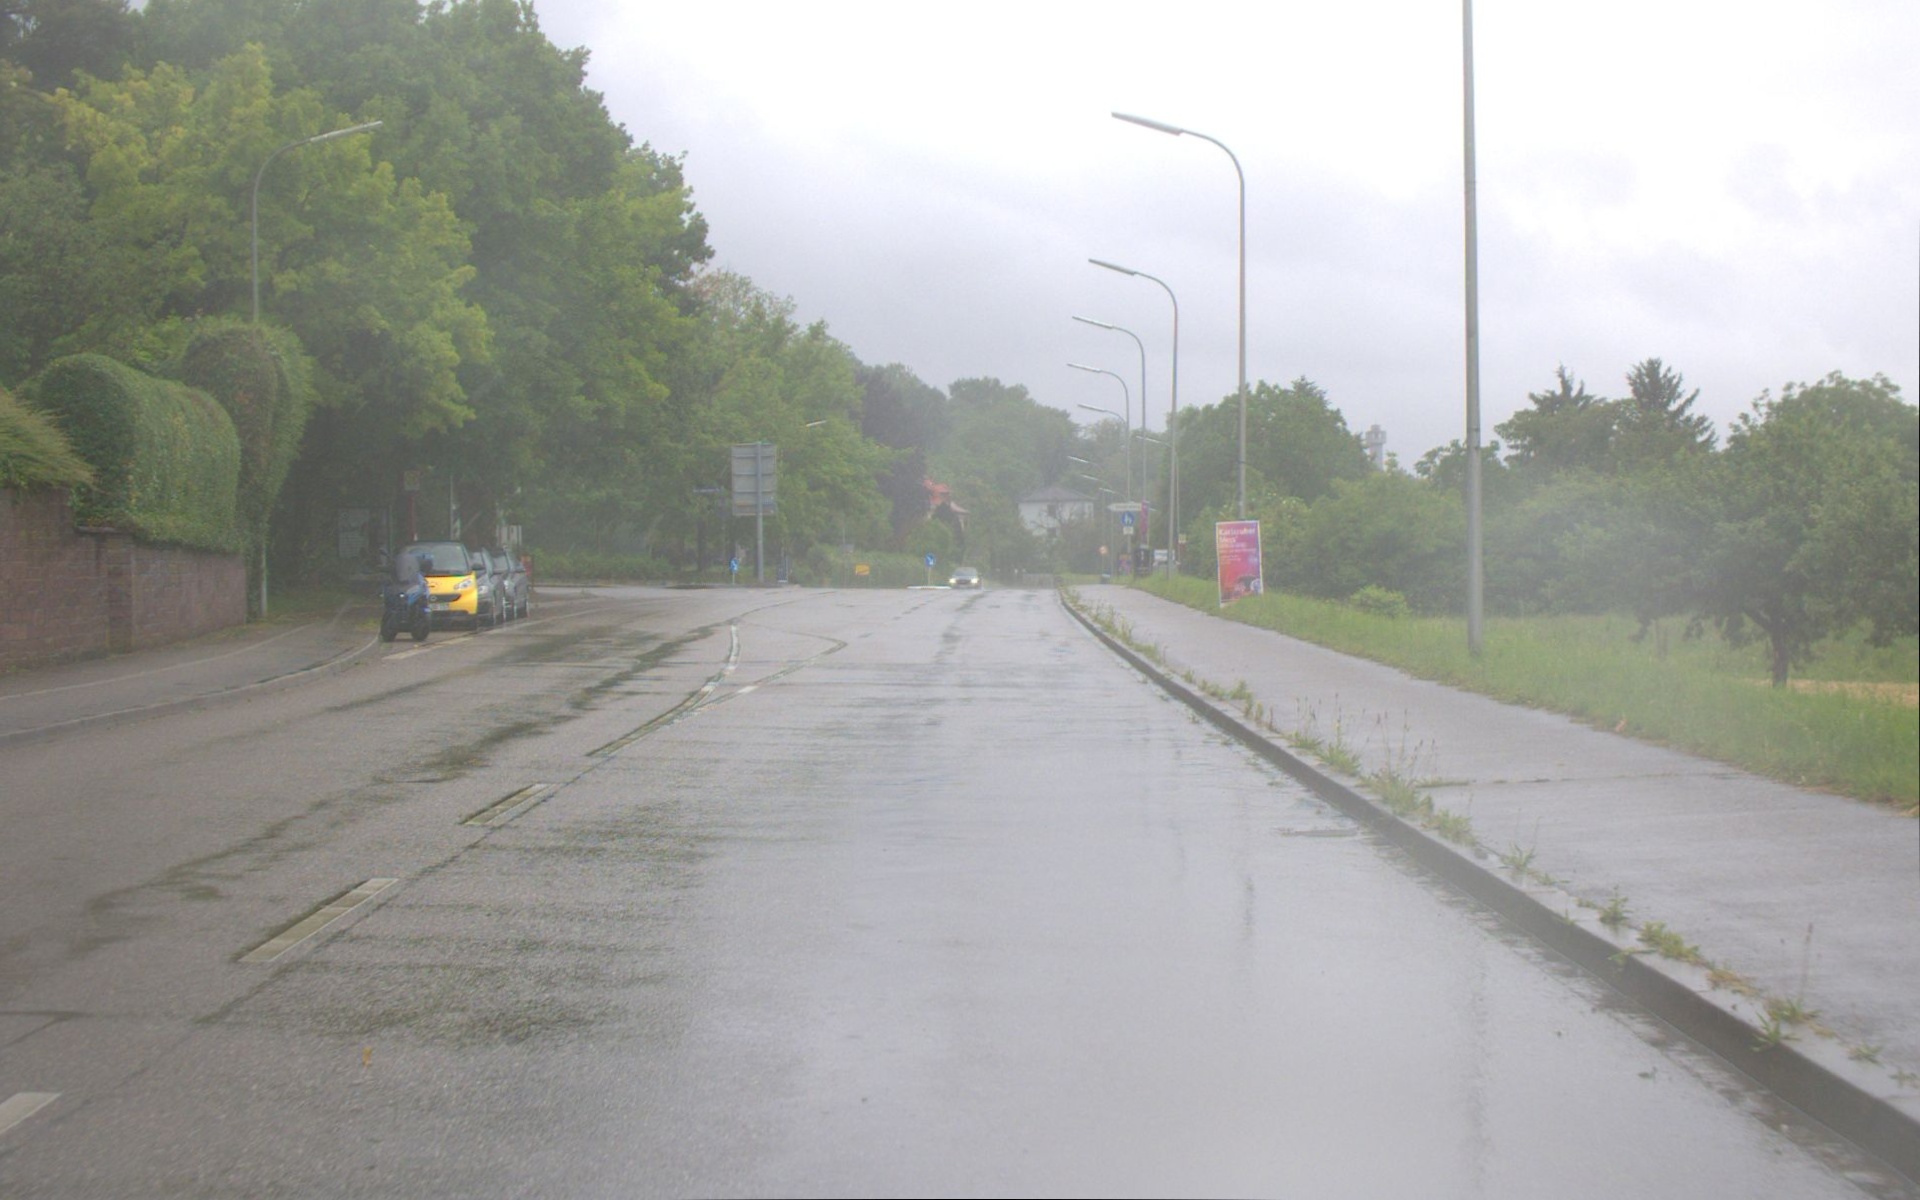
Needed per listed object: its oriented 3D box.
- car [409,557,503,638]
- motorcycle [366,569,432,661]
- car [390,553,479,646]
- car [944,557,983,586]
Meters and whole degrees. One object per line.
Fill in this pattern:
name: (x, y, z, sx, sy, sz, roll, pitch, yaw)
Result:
car: (-9.205, -0.066, 62.987, 1.433, 1.414, 4.105, -1, 1, -5)
motorcycle: (-8.502, 0.208, 52.159, 0.837, 1.336, 2.500, -1, 1, -6)
car: (-8.961, -0.023, 58.685, 1.433, 1.532, 2.820, -1, 1, -8)
car: (0.234, -1.775, 215.313, 1.795, 1.756, 3.999, 1, 1, 9)
